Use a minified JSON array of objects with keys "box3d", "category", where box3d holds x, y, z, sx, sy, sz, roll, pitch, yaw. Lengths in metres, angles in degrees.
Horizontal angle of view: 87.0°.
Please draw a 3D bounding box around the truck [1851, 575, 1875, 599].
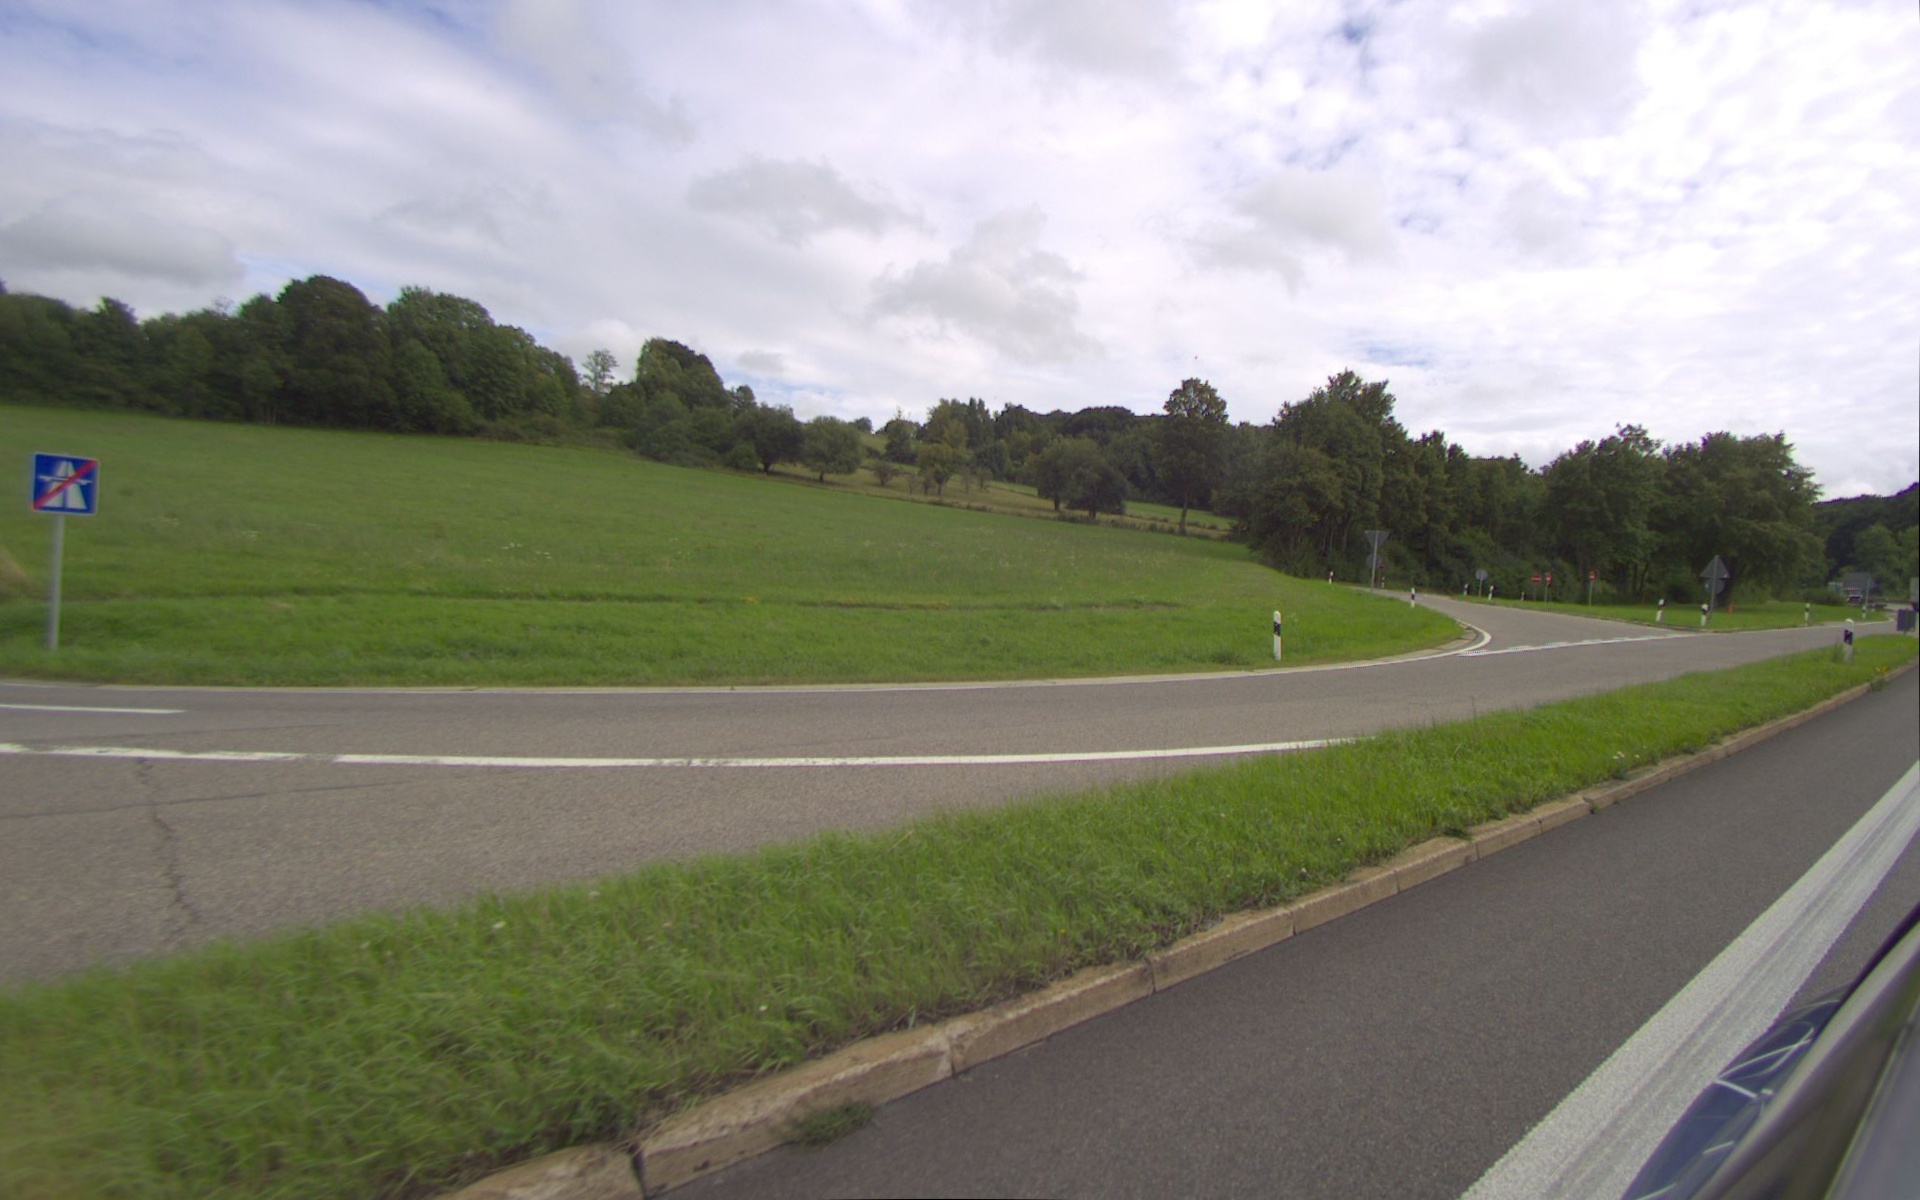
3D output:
[{"box3d":[162.365,-2.359,182.021,2.784,4.020,5.858,2,3,38],"category":"truck"}]
